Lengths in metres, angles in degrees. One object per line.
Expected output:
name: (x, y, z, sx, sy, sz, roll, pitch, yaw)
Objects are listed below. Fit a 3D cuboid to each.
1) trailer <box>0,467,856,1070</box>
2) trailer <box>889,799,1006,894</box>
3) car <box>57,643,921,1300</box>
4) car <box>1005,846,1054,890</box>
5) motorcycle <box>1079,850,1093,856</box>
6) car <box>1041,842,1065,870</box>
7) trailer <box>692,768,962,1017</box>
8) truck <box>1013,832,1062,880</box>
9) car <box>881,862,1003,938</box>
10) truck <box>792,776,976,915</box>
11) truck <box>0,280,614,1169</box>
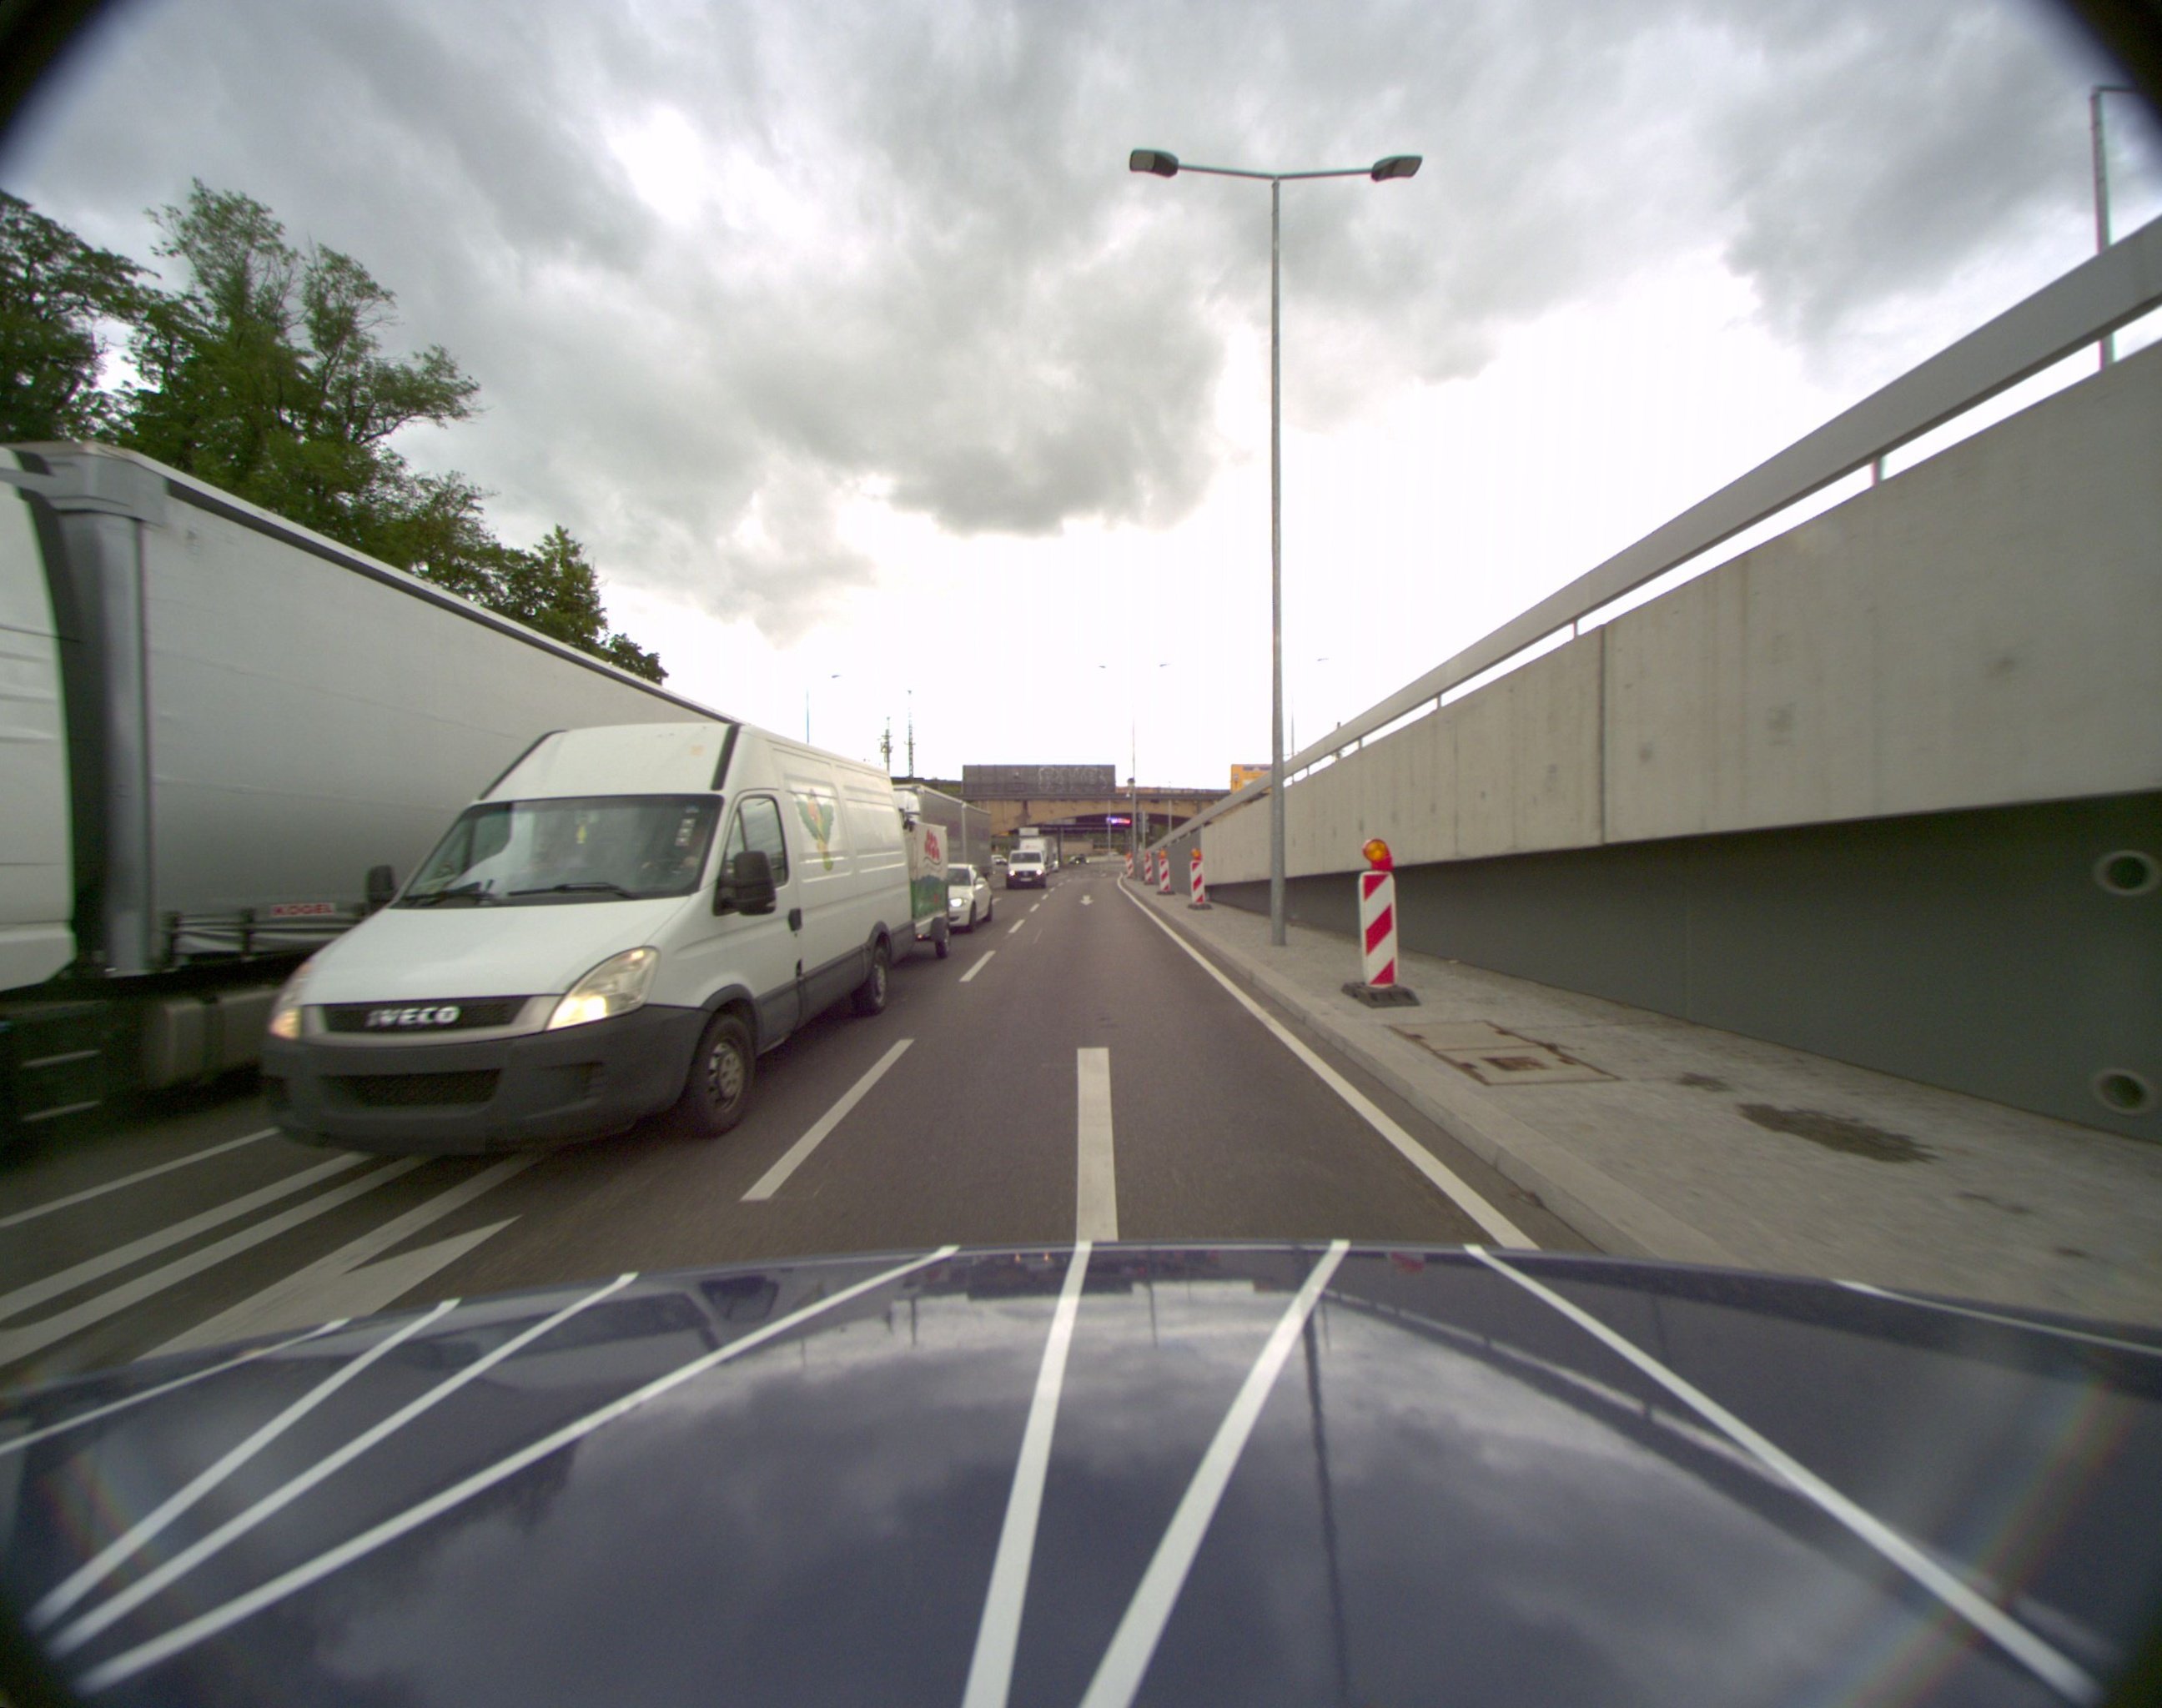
trailer: (-7.412, -0.689, 12.038, 3.814, 4.604, 12.112, -3, 1, 0)
trailer: (-6.563, -0.393, 39.794, 3.733, 4.118, 10.983, -2, 1, 1)
car: (-3.093, 0.452, 6.158, 2.063, 2.613, 5.941, -5, 1, 1)
car: (-2.526, 0.647, 38.362, 1.998, 1.978, 5.199, -2, 1, 1)
motorcycle: (0.839, -0.222, 128.012, 2.388, 0.911, 0.668, -4, -1, 44)
car: (-3.033, 0.178, 83.847, 2.160, 2.880, 6.210, -2, 1, 1)
trailer: (-3.099, 0.407, 10.555, 2.109, 2.623, 4.809, -1, 0, -1)
truck: (-3.631, 0.063, 65.698, 3.032, 3.567, 8.950, -5, 1, 3)
car: (-2.978, 0.932, 17.201, 1.720, 1.390, 4.347, -1, 1, 3)
truck: (-6.807, -0.303, 28.813, 3.733, 4.118, 10.982, -2, 1, 1)
truck: (-7.457, -0.633, 5.055, 3.814, 4.605, 7.441, -3, 1, 0)
